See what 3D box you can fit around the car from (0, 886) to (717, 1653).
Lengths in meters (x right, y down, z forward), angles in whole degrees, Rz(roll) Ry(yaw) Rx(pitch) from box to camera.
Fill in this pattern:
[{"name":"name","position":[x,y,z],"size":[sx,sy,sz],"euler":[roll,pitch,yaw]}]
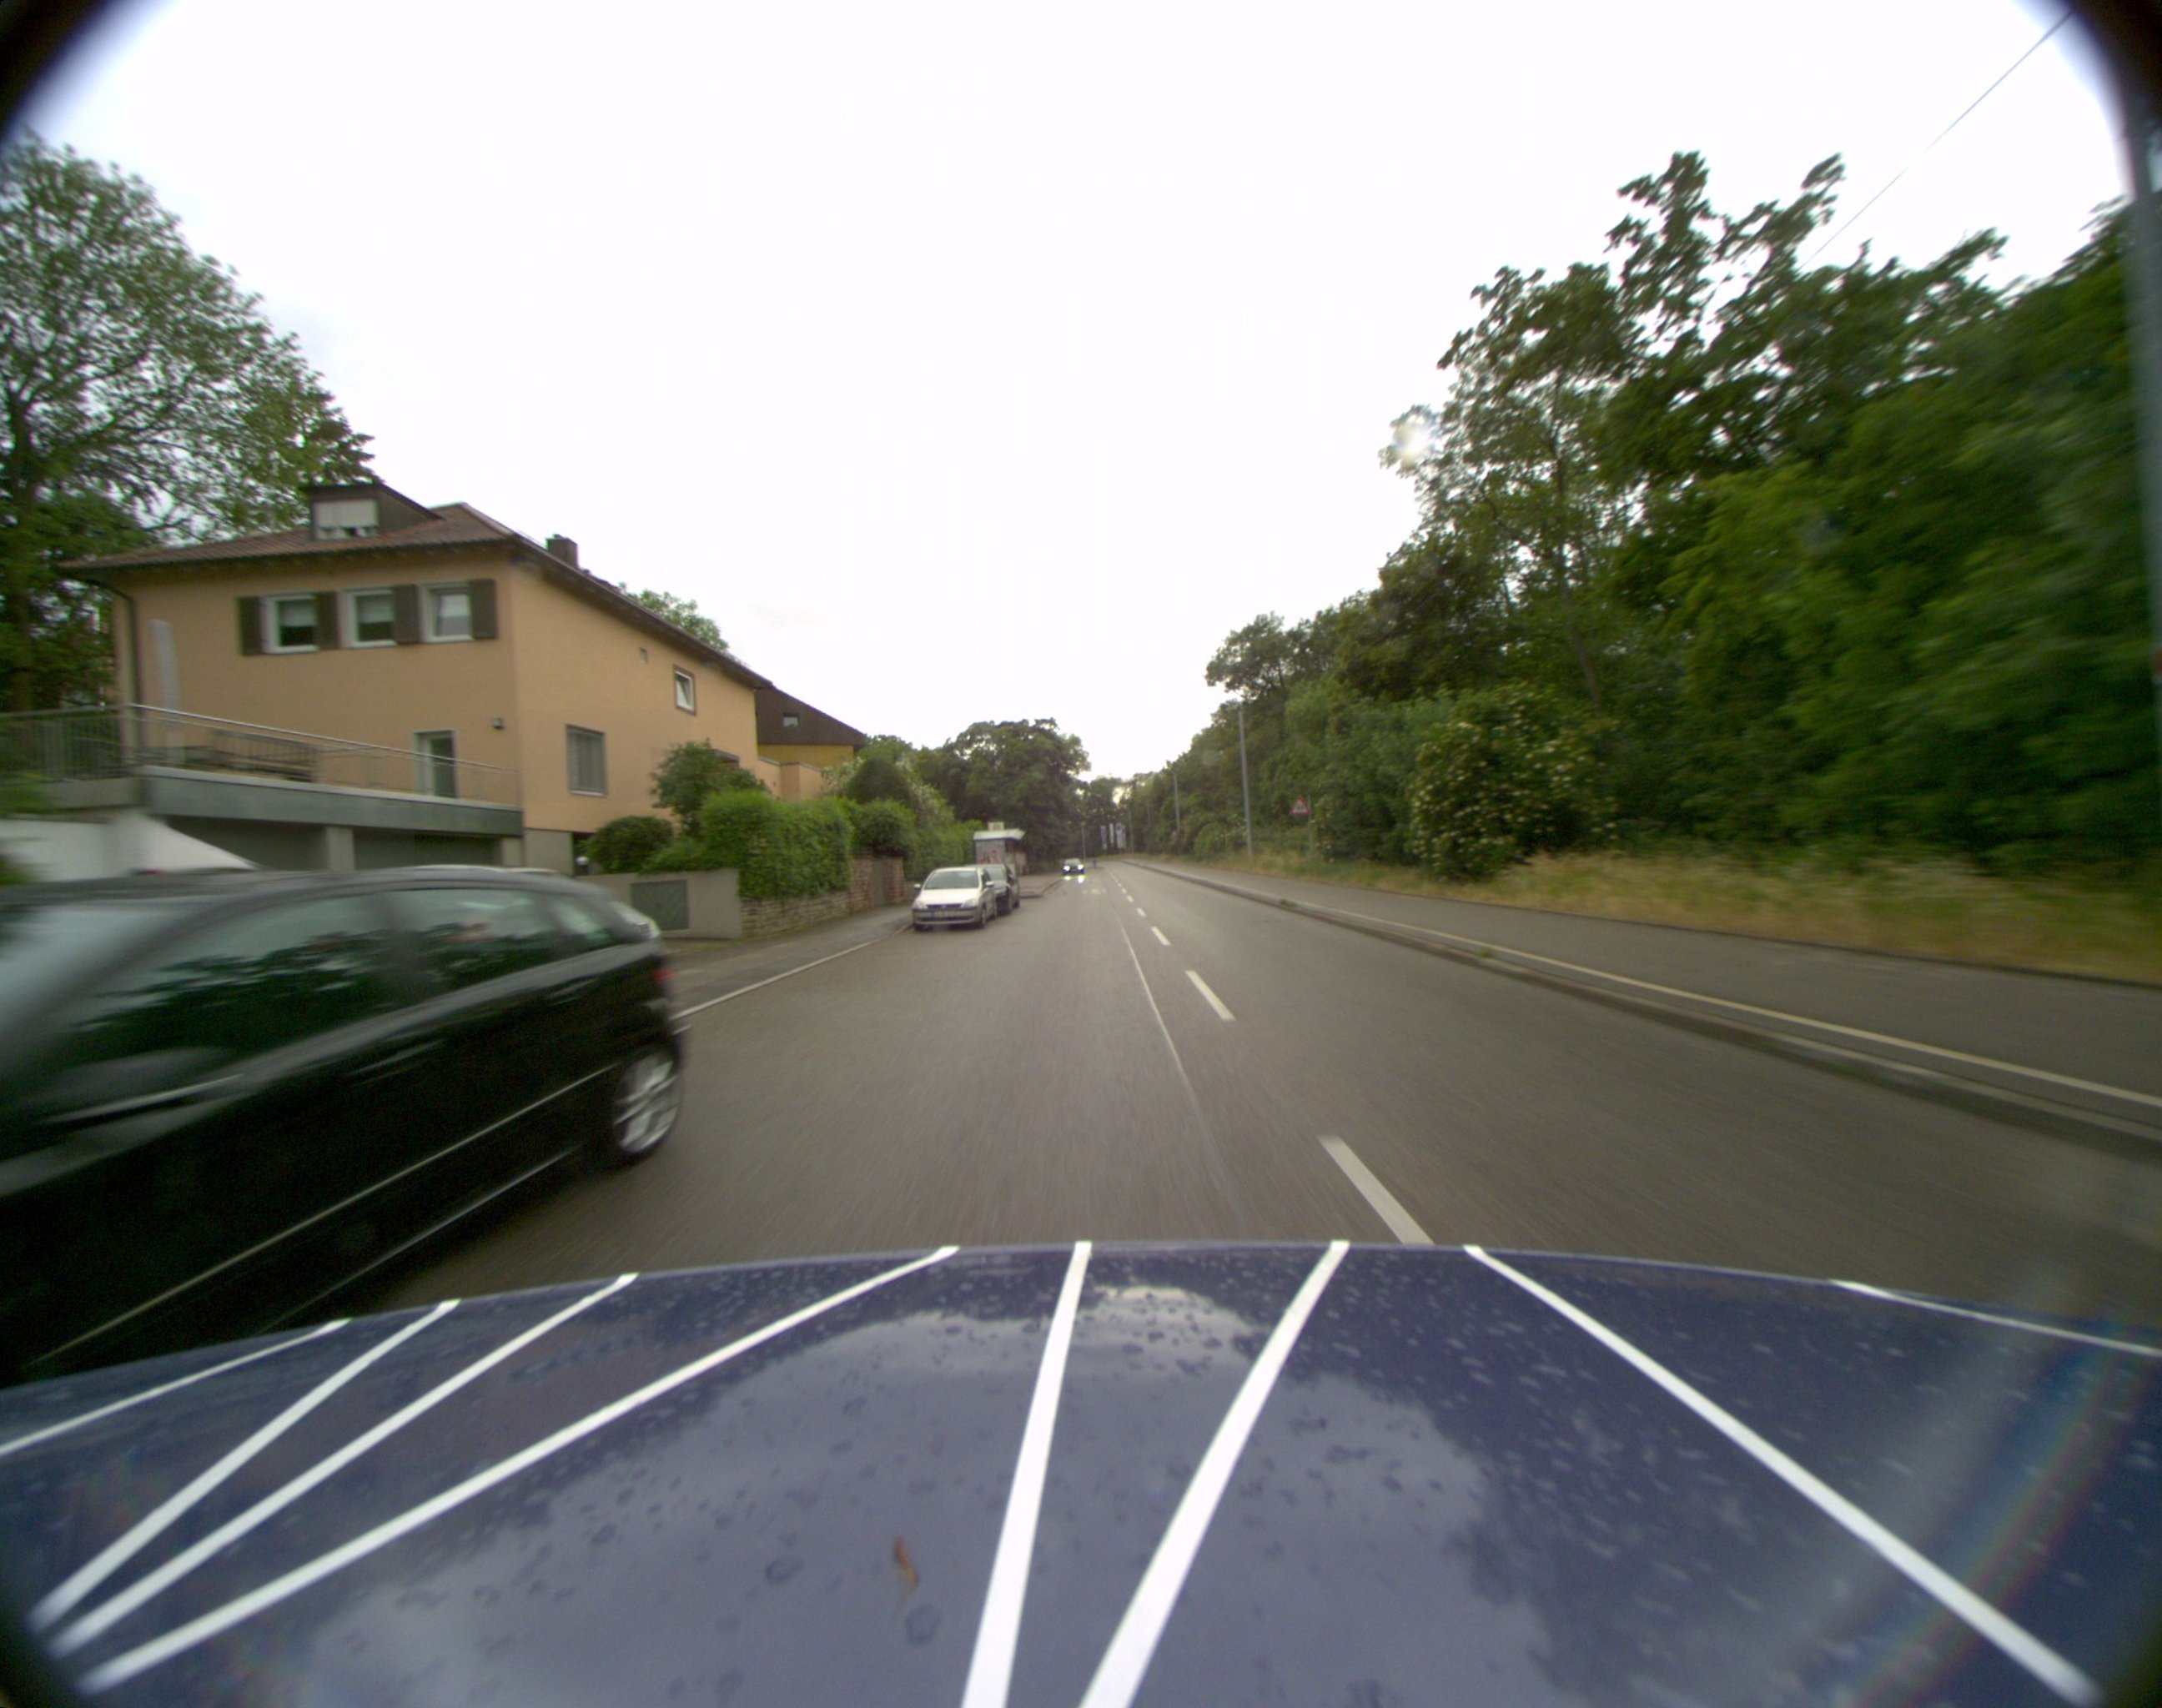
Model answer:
[{"name":"car","position":[-3.242,1.005,2.525],"size":[1.734,1.558,4.522],"euler":[-2,0,2]}]

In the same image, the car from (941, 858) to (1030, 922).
[{"name":"car","position":[-2.767,1.005,23.107],"size":[1.834,1.538,4.630],"euler":[-3,1,3]}]

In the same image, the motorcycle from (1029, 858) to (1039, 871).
[{"name":"motorcycle","position":[-4.991,1.095,81.122],"size":[0.777,1.237,2.013],"euler":[-5,0,2]}]

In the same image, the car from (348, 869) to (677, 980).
[{"name":"car","position":[-8.566,1.027,11.726],"size":[3.667,1.527,1.828],"euler":[0,0,-1]}]

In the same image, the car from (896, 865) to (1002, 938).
[{"name":"car","position":[-3.101,1.068,18.650],"size":[1.817,1.390,4.101],"euler":[-3,1,0]}]

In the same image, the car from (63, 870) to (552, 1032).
[{"name":"car","position":[-8.589,1.020,8.728],"size":[3.667,1.557,1.882],"euler":[-1,1,1]}]

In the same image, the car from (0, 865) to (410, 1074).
[{"name":"car","position":[-8.880,0.951,6.661],"size":[4.255,1.452,1.882],"euler":[-3,1,1]}]

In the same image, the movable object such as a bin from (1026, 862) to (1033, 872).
[{"name":"movable object such as a bin","position":[-5.330,1.327,78.792],"size":[0.570,0.931,0.549],"euler":[-5,1,2]}]

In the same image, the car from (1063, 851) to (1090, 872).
[{"name":"car","position":[-0.353,0.601,66.720],"size":[1.998,1.714,4.001],"euler":[-2,0,4]}]

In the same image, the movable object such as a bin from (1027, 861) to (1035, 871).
[{"name":"movable object such as a bin","position":[-5.248,1.273,79.531],"size":[0.666,0.999,0.659],"euler":[-5,1,2]}]
